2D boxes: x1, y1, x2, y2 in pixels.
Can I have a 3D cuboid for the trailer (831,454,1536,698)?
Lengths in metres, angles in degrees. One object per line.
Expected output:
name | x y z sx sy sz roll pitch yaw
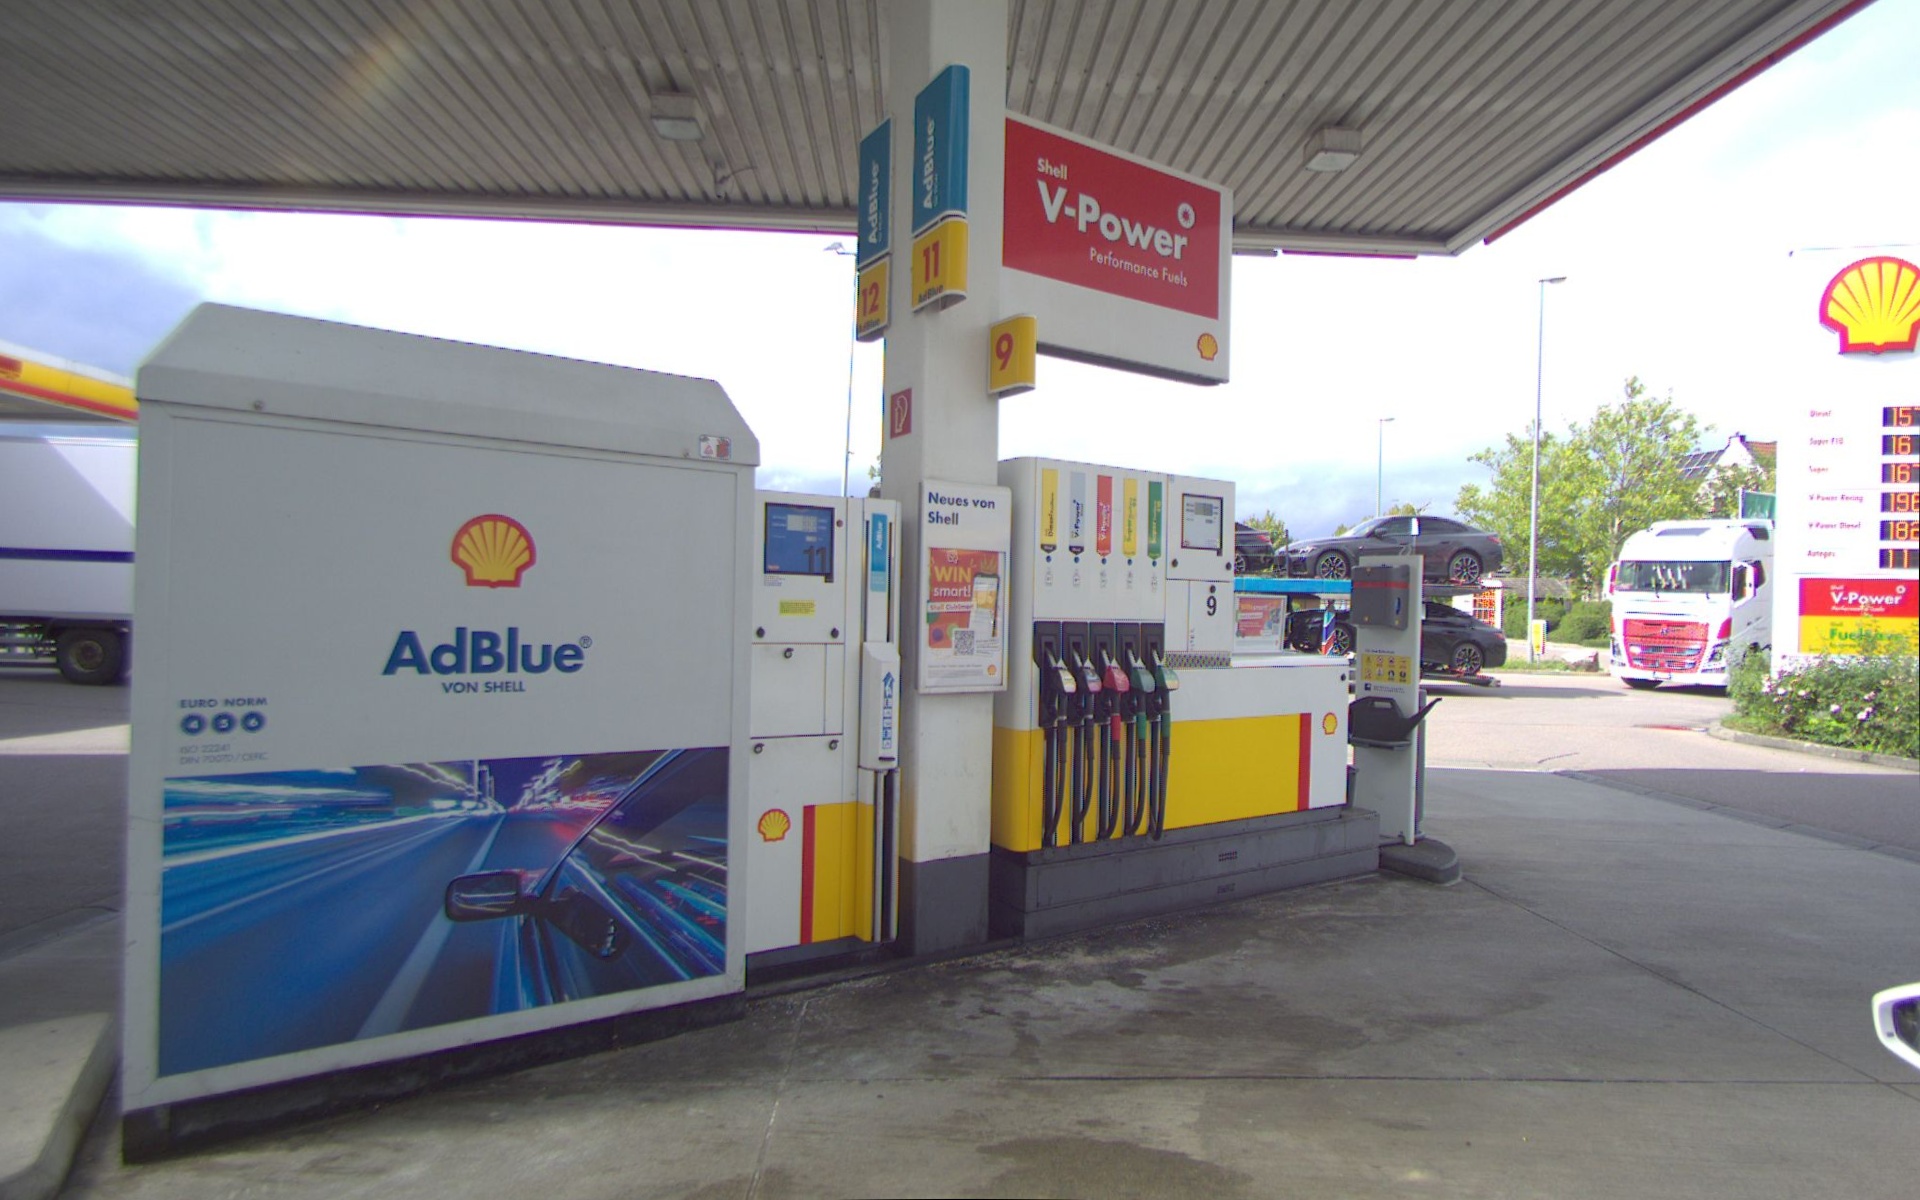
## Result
trailer | 4.518 -0.469 21.584 14.077 4.481 2.746 2 0 0

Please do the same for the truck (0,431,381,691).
truck | -17.309 -0.742 17.498 12.654 4.092 2.534 2 0 -3

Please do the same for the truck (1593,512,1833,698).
truck | 17.934 0.174 23.830 5.857 3.897 2.716 2 0 -34

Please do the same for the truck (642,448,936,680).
truck | -3.458 -0.706 21.544 5.713 4.479 2.750 2 0 0
